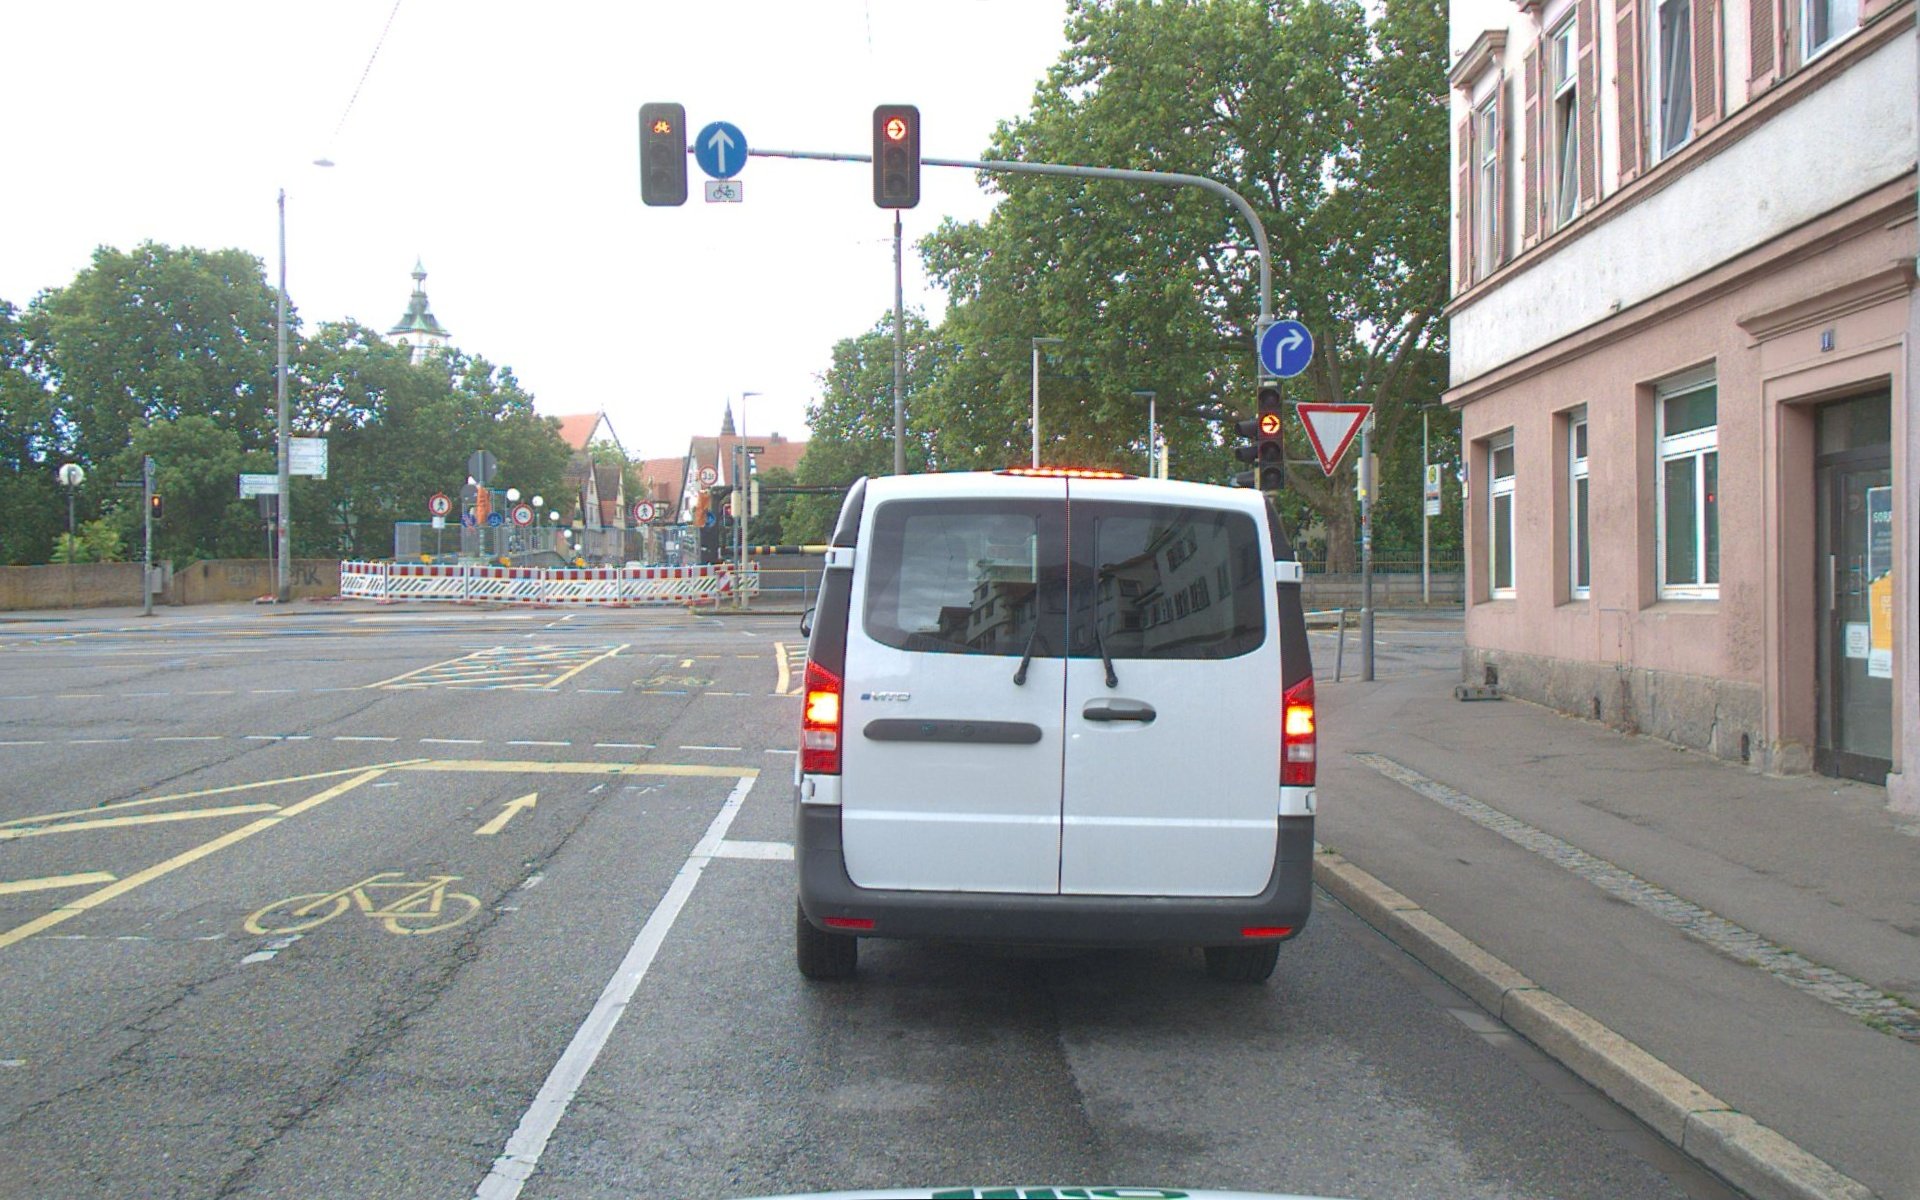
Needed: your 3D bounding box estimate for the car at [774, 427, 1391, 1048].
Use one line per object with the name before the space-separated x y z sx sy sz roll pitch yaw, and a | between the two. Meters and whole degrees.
car | 0.267 0.372 7.390 1.954 1.956 4.246 1 2 -4
